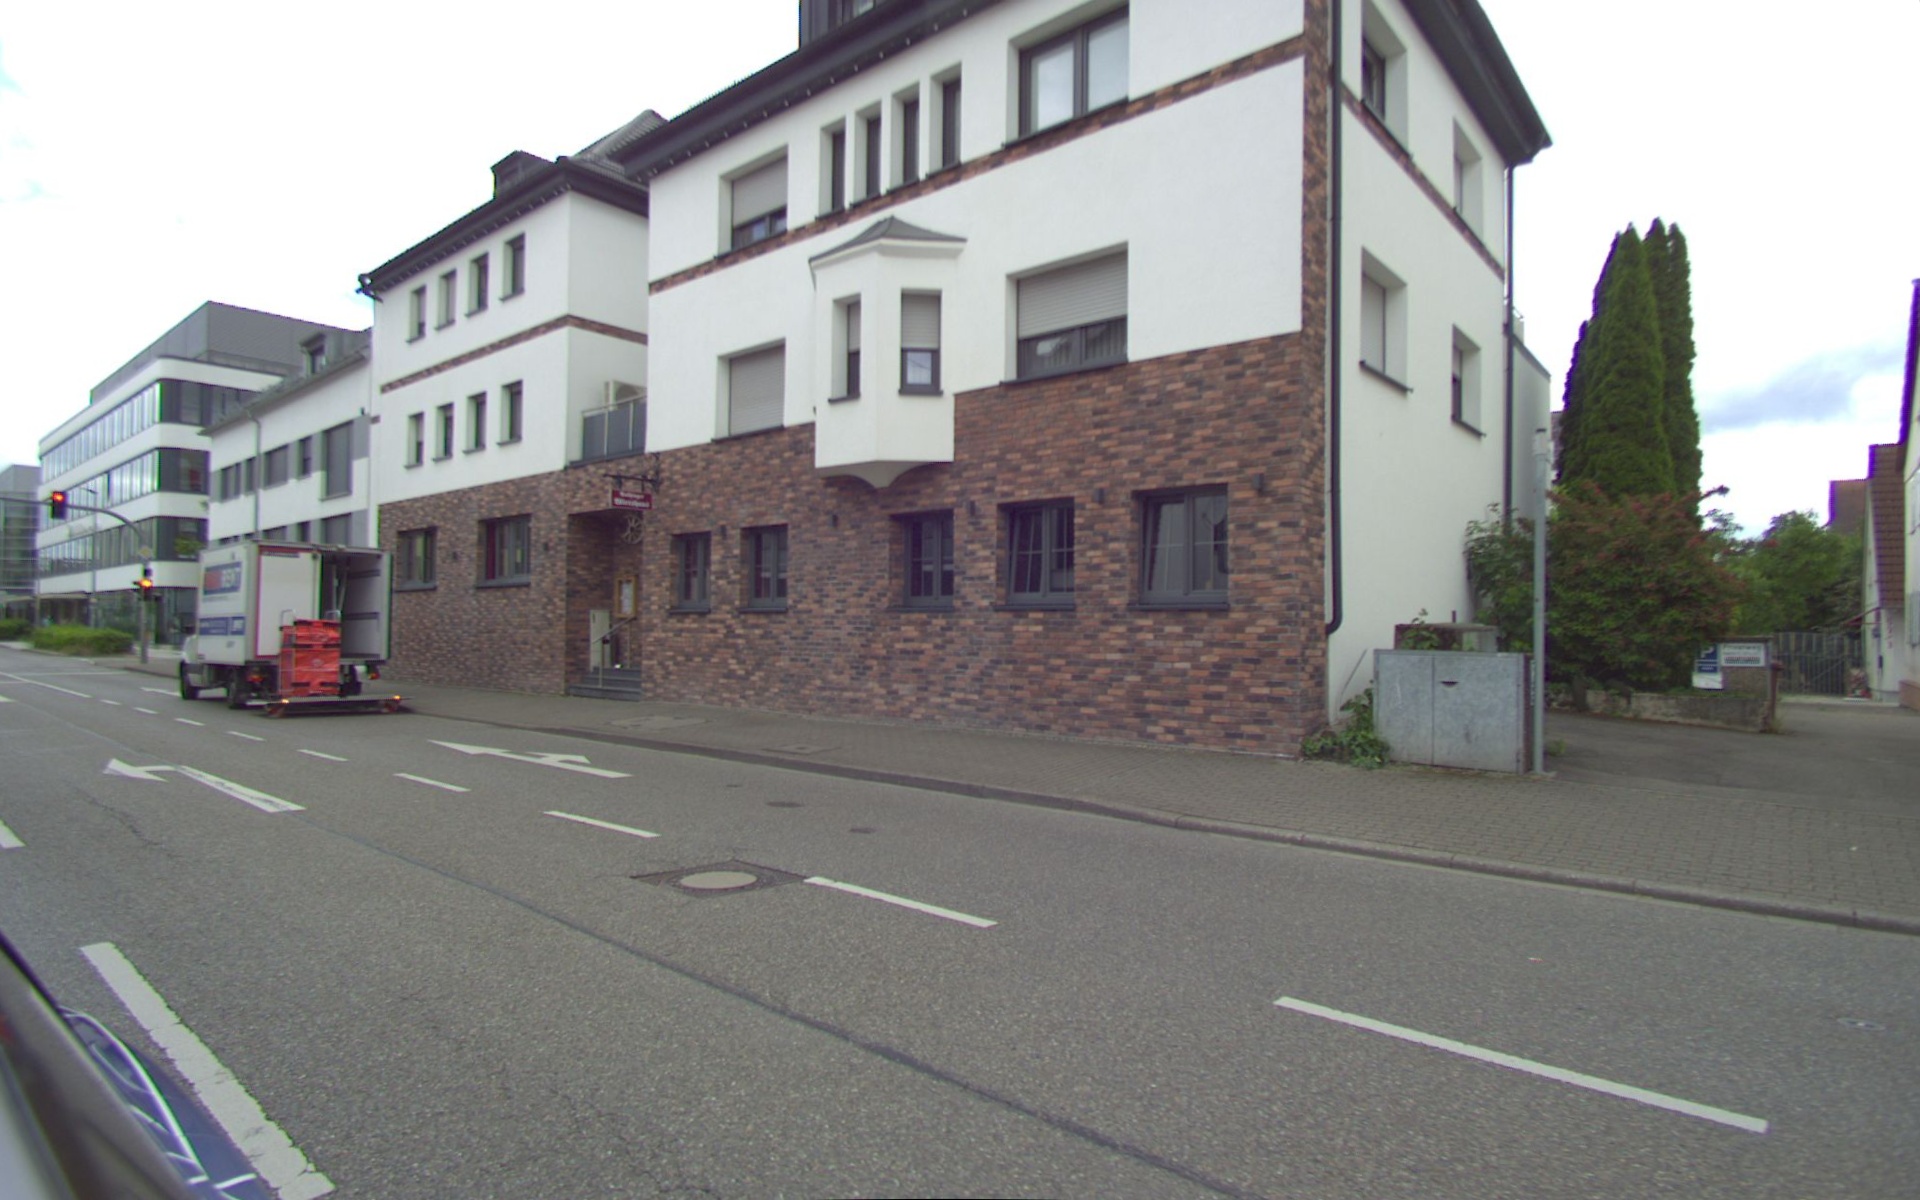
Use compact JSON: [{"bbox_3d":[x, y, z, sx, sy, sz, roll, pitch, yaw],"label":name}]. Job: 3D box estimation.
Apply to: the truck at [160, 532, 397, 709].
[{"bbox_3d":[-13.618,0.381,20.041,5.961,2.993,2.437,-1,0,41],"label":"truck"}]
